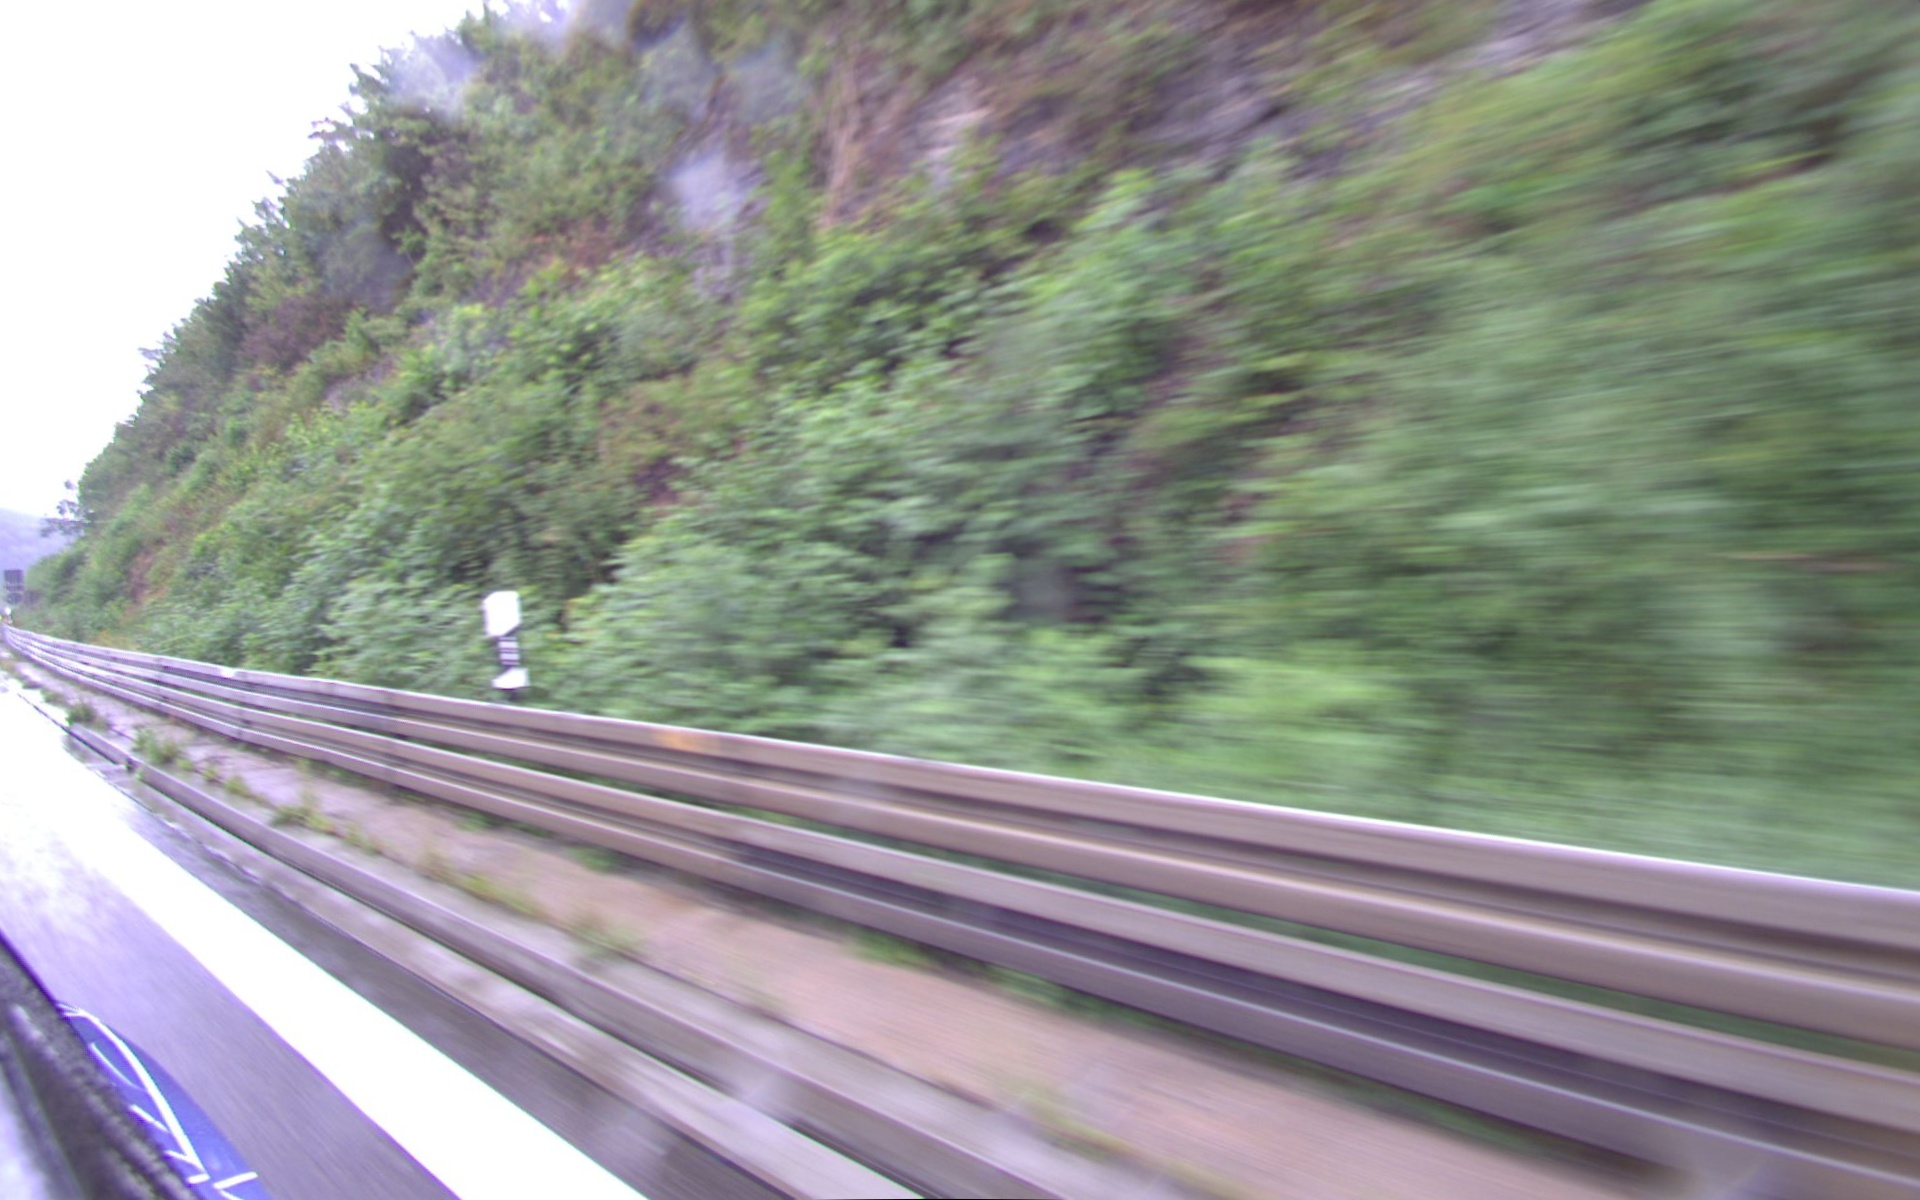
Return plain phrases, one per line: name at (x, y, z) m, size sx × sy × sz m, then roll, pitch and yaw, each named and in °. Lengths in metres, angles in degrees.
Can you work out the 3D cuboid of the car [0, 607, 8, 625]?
car at (-111.344, 1.849, 116.859) m, size 4.001 × 2.029 × 1.883 m, roll -1°, pitch 0°, yaw 44°
